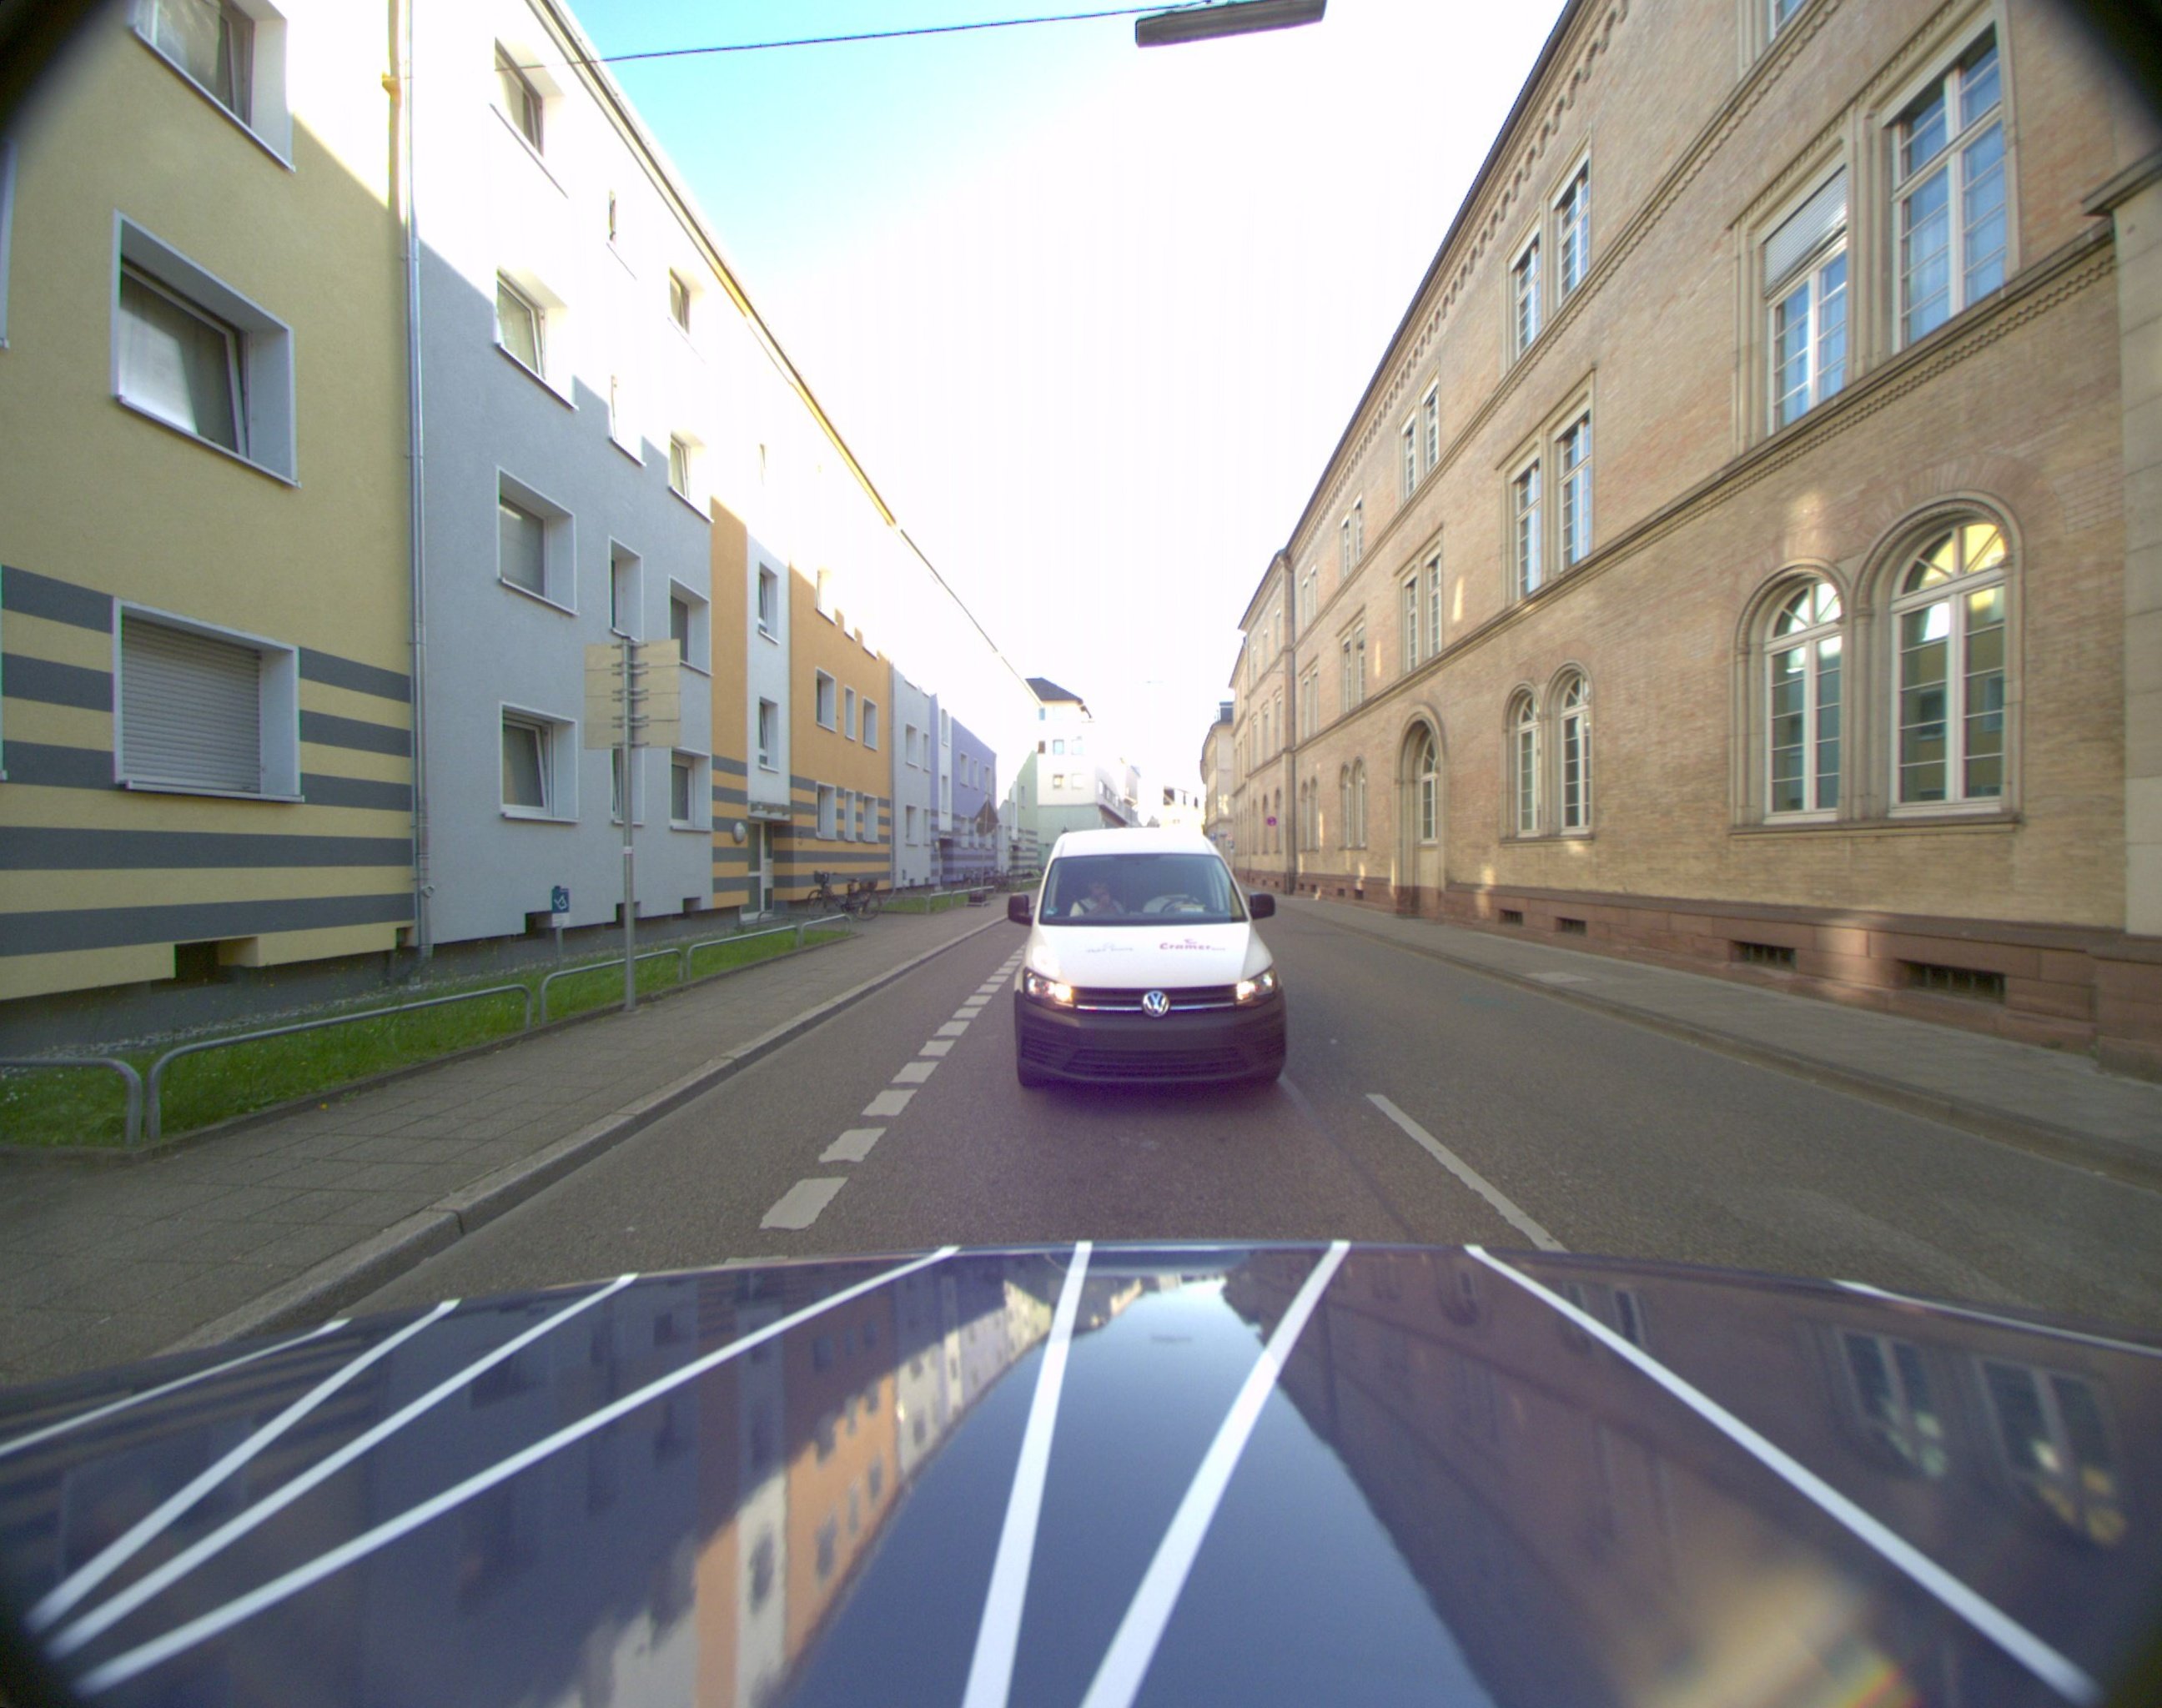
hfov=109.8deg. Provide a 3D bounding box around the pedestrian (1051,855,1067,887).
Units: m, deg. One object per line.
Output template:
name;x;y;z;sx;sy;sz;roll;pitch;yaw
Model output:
pedestrian;-1.126;0.877;39.401;0.705;1.627;0.833;2;2;5

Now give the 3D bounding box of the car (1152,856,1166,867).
car;12.660;1.155;122.696;1.997;1.643;4.231;-2;1;9

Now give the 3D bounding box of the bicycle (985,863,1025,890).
bicycle;-3.366;0.989;33.677;1.676;1.145;0.484;0;0;4

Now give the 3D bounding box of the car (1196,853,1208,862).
car;26.107;0.753;163.748;1.996;1.643;4.233;-2;1;17

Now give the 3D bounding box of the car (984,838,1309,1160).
car;0.400;0.771;6.849;1.769;1.761;5.331;-1;1;1

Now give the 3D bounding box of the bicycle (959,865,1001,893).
bicycle;-4.230;1.033;31.838;1.676;1.145;0.484;0;0;4

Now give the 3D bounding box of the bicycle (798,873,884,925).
bicycle;-5.380;1.004;17.102;1.780;1.116;0.484;0;0;-5

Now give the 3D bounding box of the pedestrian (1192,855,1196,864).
pedestrian;20.852;1.052;140.373;0.705;1.627;0.833;3;2;12

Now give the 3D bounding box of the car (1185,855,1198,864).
car;22.124;1.040;152.017;1.996;1.643;4.233;-2;1;17

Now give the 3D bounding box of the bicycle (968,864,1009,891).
bicycle;-4.025;1.006;33.132;1.676;1.145;0.484;0;0;4

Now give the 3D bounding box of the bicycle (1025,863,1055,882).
bicycle;-2.509;1.136;46.049;1.779;1.145;0.484;0;0;0
